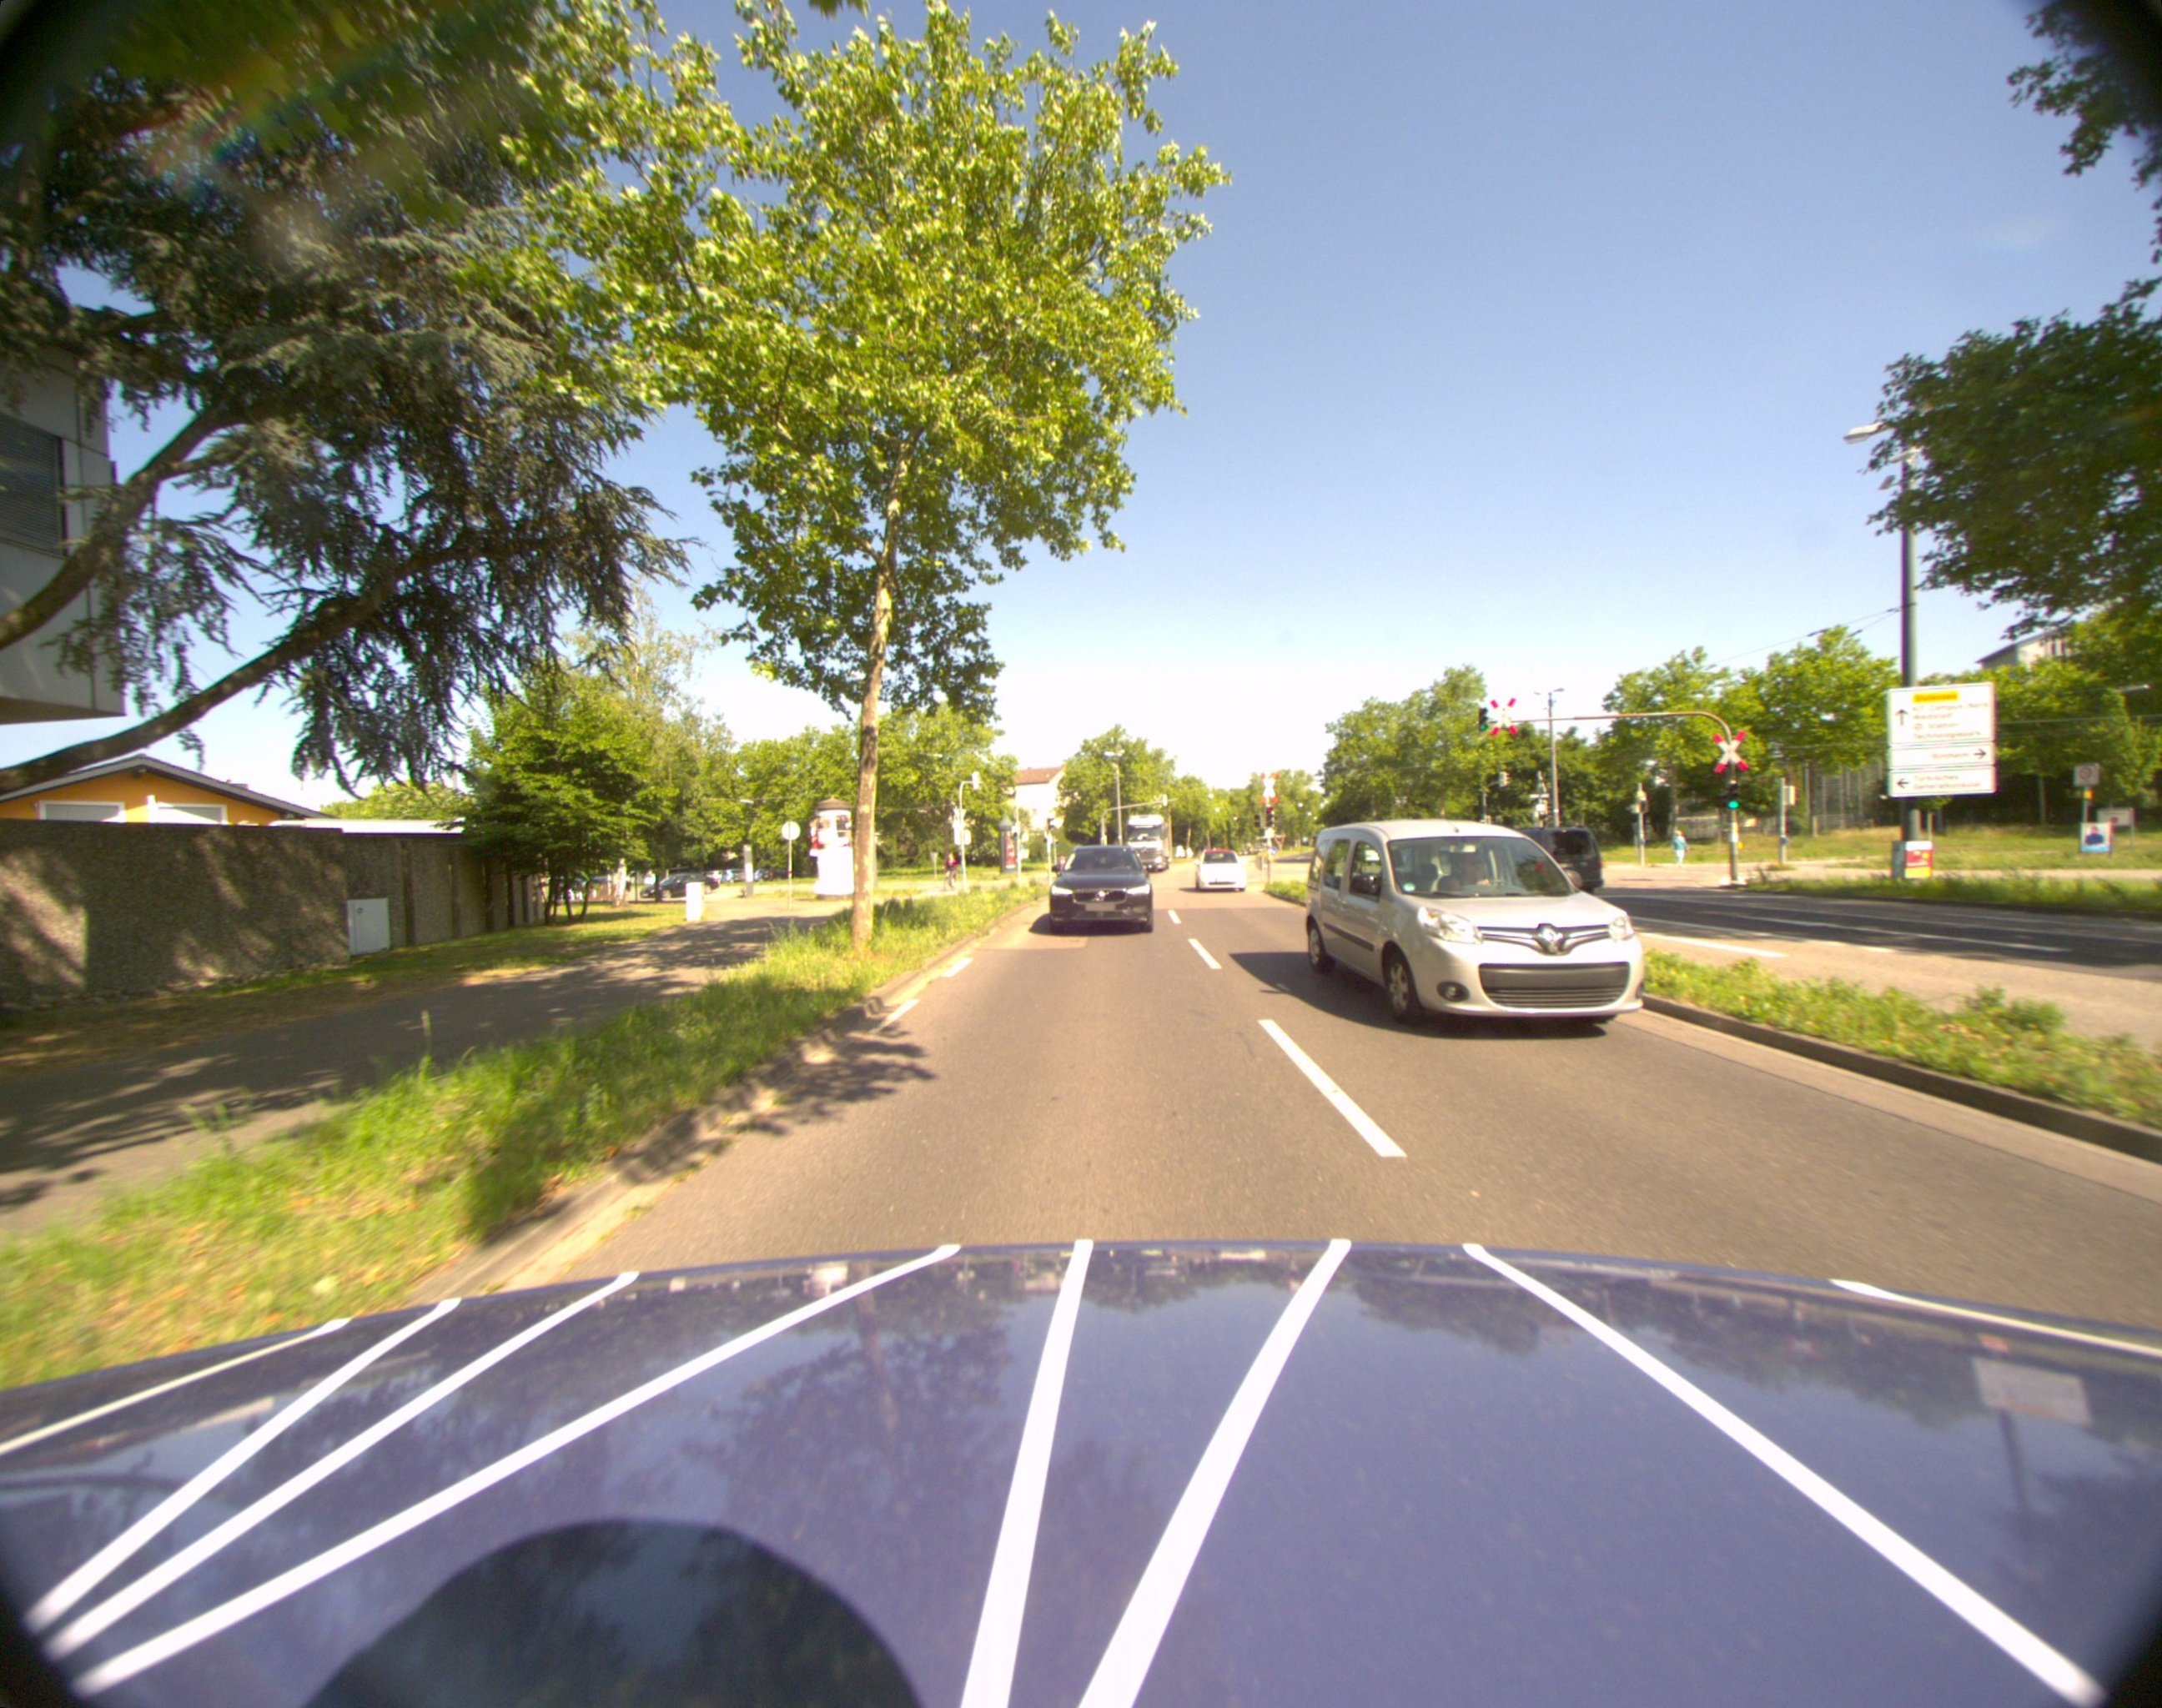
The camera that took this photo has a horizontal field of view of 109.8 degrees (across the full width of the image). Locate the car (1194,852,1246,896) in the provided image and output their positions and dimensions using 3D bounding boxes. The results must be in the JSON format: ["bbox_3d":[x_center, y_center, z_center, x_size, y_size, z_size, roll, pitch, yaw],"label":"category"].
[{"bbox_3d":[5.058,0.689,28.131,1.688,1.482,4.378,-1,0,8],"label":"car"}]

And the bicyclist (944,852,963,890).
[{"bbox_3d":[-6.193,0.812,36.951,0.702,1.776,0.810,-2,0,2],"label":"bicyclist"}]

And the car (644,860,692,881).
[{"bbox_3d":[-49.245,1.934,90.640,1.995,2.276,4.598,-2,0,28],"label":"car"}]

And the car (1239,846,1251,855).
[{"bbox_3d":[38.664,-0.743,179.126,1.995,2.002,4.006,-2,0,24],"label":"car"}]

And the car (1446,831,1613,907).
[{"bbox_3d":[12.074,0.367,20.917,1.690,1.828,4.994,-1,0,1],"label":"car"}]

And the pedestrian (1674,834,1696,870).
[{"bbox_3d":[25.847,-0.081,32.526,0.367,1.552,0.667,-2,1,-42],"label":"pedestrian"}]

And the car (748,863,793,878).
[{"bbox_3d":[-34.041,1.816,83.377,1.995,1.482,4.362,-2,0,23],"label":"car"}]

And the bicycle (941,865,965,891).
[{"bbox_3d":[-6.187,1.159,36.916,0.693,1.178,2.125,-2,0,2],"label":"bicycle"}]

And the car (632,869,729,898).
[{"bbox_3d":[-25.384,1.832,48.362,2.137,1.490,5.127,-2,1,26],"label":"car"}]

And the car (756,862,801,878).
[{"bbox_3d":[-32.442,1.737,81.634,1.995,1.482,4.361,-2,0,23],"label":"car"}]

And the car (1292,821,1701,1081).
[{"bbox_3d":[3.540,0.681,7.565,1.876,1.829,4.376,-1,1,3],"label":"car"}]

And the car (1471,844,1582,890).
[{"bbox_3d":[16.604,0.468,28.600,1.713,1.580,4.433,0,0,2],"label":"car"}]

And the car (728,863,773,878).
[{"bbox_3d":[-36.659,1.772,84.502,1.995,1.482,4.362,-2,0,23],"label":"car"}]

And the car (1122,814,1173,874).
[{"bbox_3d":[4.837,-0.694,53.988,2.901,3.898,7.146,-1,0,10],"label":"car"}]

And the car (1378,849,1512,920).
[{"bbox_3d":[8.667,0.660,18.479,1.697,1.499,4.131,-2,0,7],"label":"car"}]

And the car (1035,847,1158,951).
[{"bbox_3d":[0.368,0.724,14.413,1.904,1.605,4.874,-1,0,3],"label":"car"}]

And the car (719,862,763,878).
[{"bbox_3d":[-38.524,1.818,86.182,1.996,1.623,4.362,-3,-1,23],"label":"car"}]

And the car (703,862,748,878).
[{"bbox_3d":[-40.816,1.831,87.282,1.995,1.623,4.362,-2,0,23],"label":"car"}]
